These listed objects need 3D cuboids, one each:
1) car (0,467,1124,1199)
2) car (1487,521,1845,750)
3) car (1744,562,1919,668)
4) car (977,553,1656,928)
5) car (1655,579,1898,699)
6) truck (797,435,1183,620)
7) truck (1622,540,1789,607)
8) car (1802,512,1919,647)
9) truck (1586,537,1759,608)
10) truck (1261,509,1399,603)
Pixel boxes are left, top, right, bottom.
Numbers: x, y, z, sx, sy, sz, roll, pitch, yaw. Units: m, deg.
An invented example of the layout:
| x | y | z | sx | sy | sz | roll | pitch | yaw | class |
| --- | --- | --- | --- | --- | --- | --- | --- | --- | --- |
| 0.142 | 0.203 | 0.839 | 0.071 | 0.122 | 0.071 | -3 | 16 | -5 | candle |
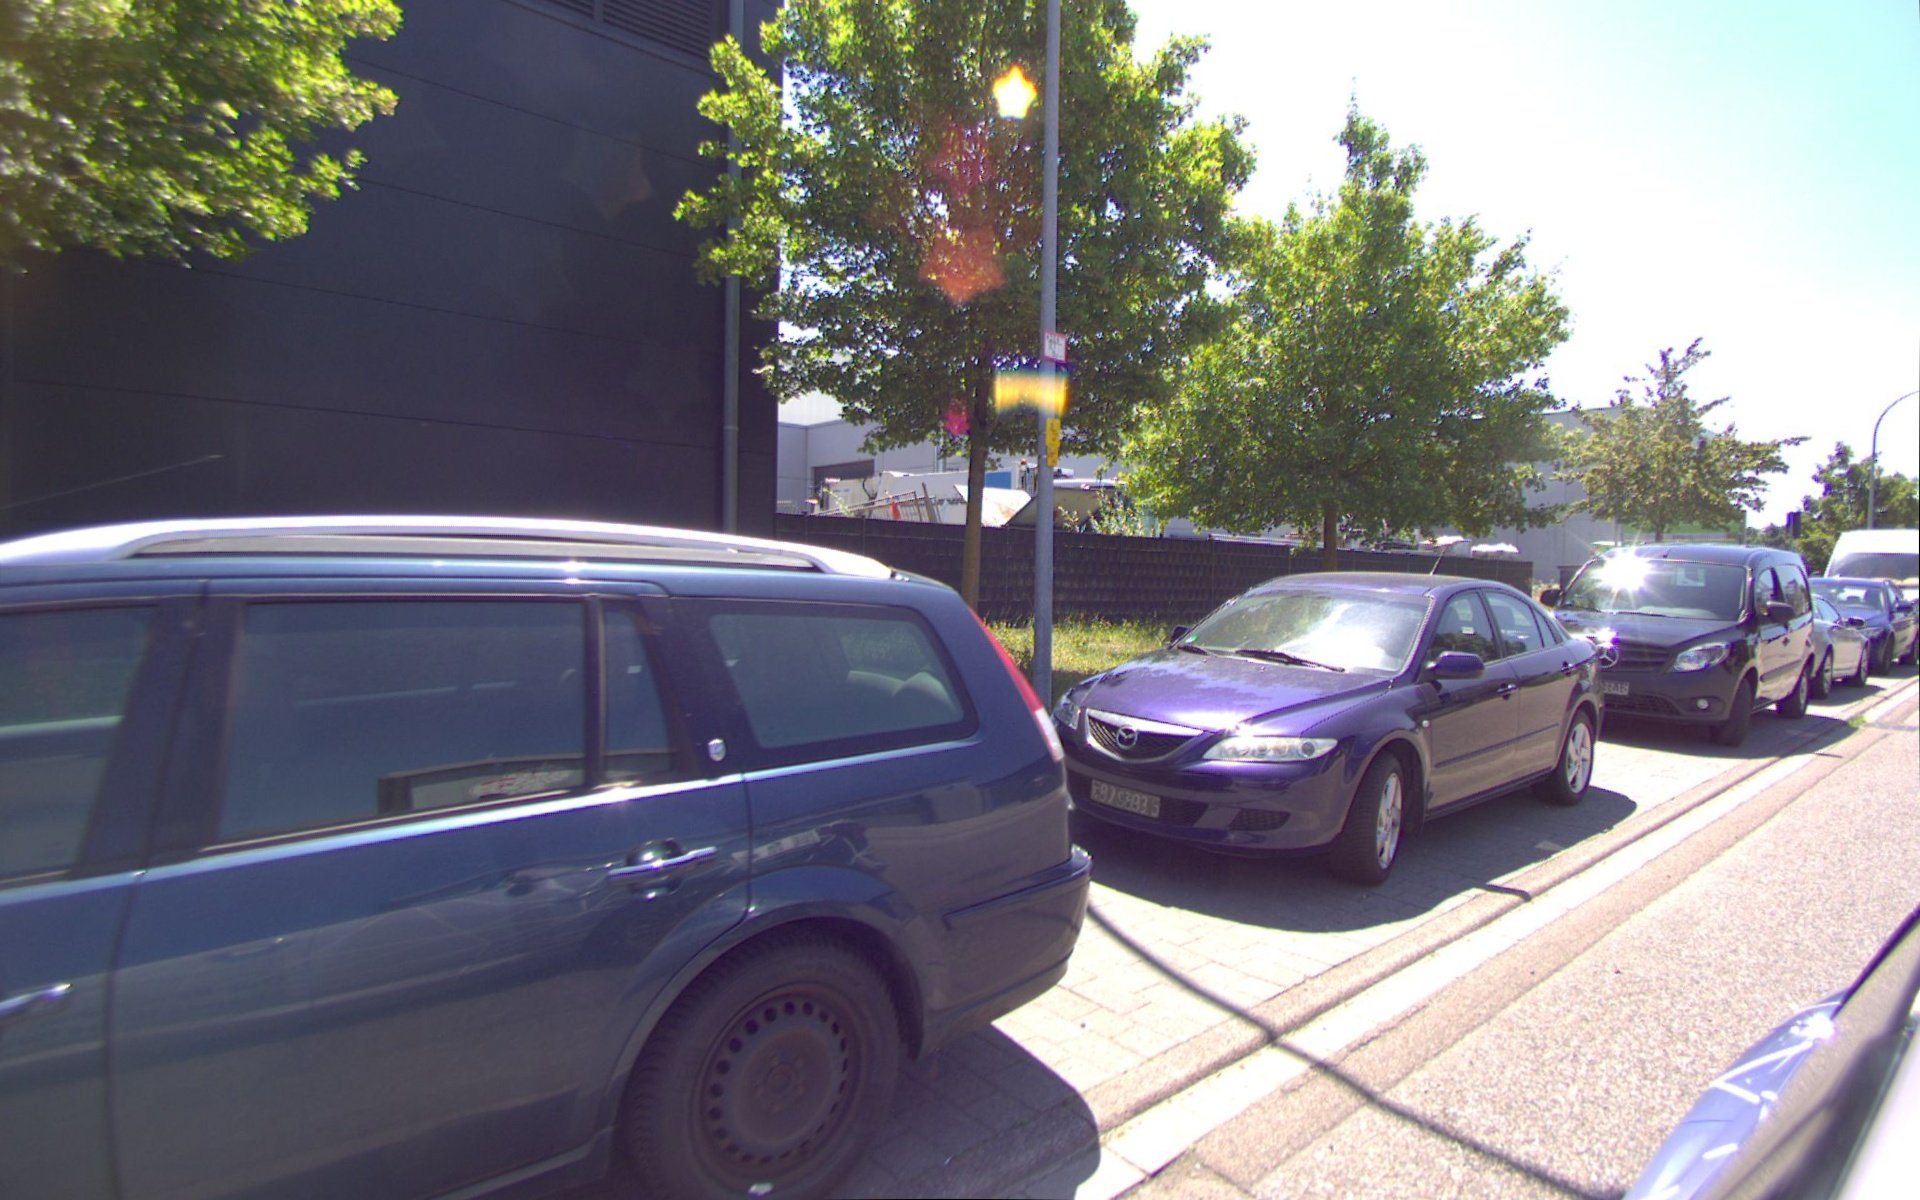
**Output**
| x | y | z | sx | sy | sz | roll | pitch | yaw | class |
| --- | --- | --- | --- | --- | --- | --- | --- | --- | --- |
| -1.945 | 0.538 | 2.010 | 4.617 | 1.523 | 1.715 | -1 | 3 | -36 | car |
| 7.316 | 0.214 | 10.322 | 4.279 | 1.847 | 1.997 | -1 | 3 | -41 | car |
| 15.004 | 0.200 | 17.054 | 4.397 | 1.512 | 1.833 | 0 | 3 | -39 | car |
| 2.446 | 0.492 | 6.193 | 4.630 | 1.448 | 1.854 | -1 | 3 | -41 | car |
| 11.040 | 0.408 | 13.596 | 4.041 | 1.303 | 1.716 | -1 | 3 | -39 | car |
| 0.358 | -1.794 | 25.519 | 9.966 | 3.868 | 2.994 | 4 | 3 | 40 | truck |
| 34.880 | -1.296 | 47.514 | 2.268 | 2.907 | 5.910 | 0 | 3 | -43 | truck |
| 19.913 | -0.431 | 21.207 | 6.041 | 2.527 | 2.274 | 0 | 3 | -39 | car |
| 31.542 | -1.301 | 44.964 | 2.373 | 2.948 | 5.833 | 0 | 3 | -41 | truck |
| 16.526 | -1.975 | 45.395 | 2.755 | 3.922 | 5.074 | -1 | 3 | -40 | truck |
